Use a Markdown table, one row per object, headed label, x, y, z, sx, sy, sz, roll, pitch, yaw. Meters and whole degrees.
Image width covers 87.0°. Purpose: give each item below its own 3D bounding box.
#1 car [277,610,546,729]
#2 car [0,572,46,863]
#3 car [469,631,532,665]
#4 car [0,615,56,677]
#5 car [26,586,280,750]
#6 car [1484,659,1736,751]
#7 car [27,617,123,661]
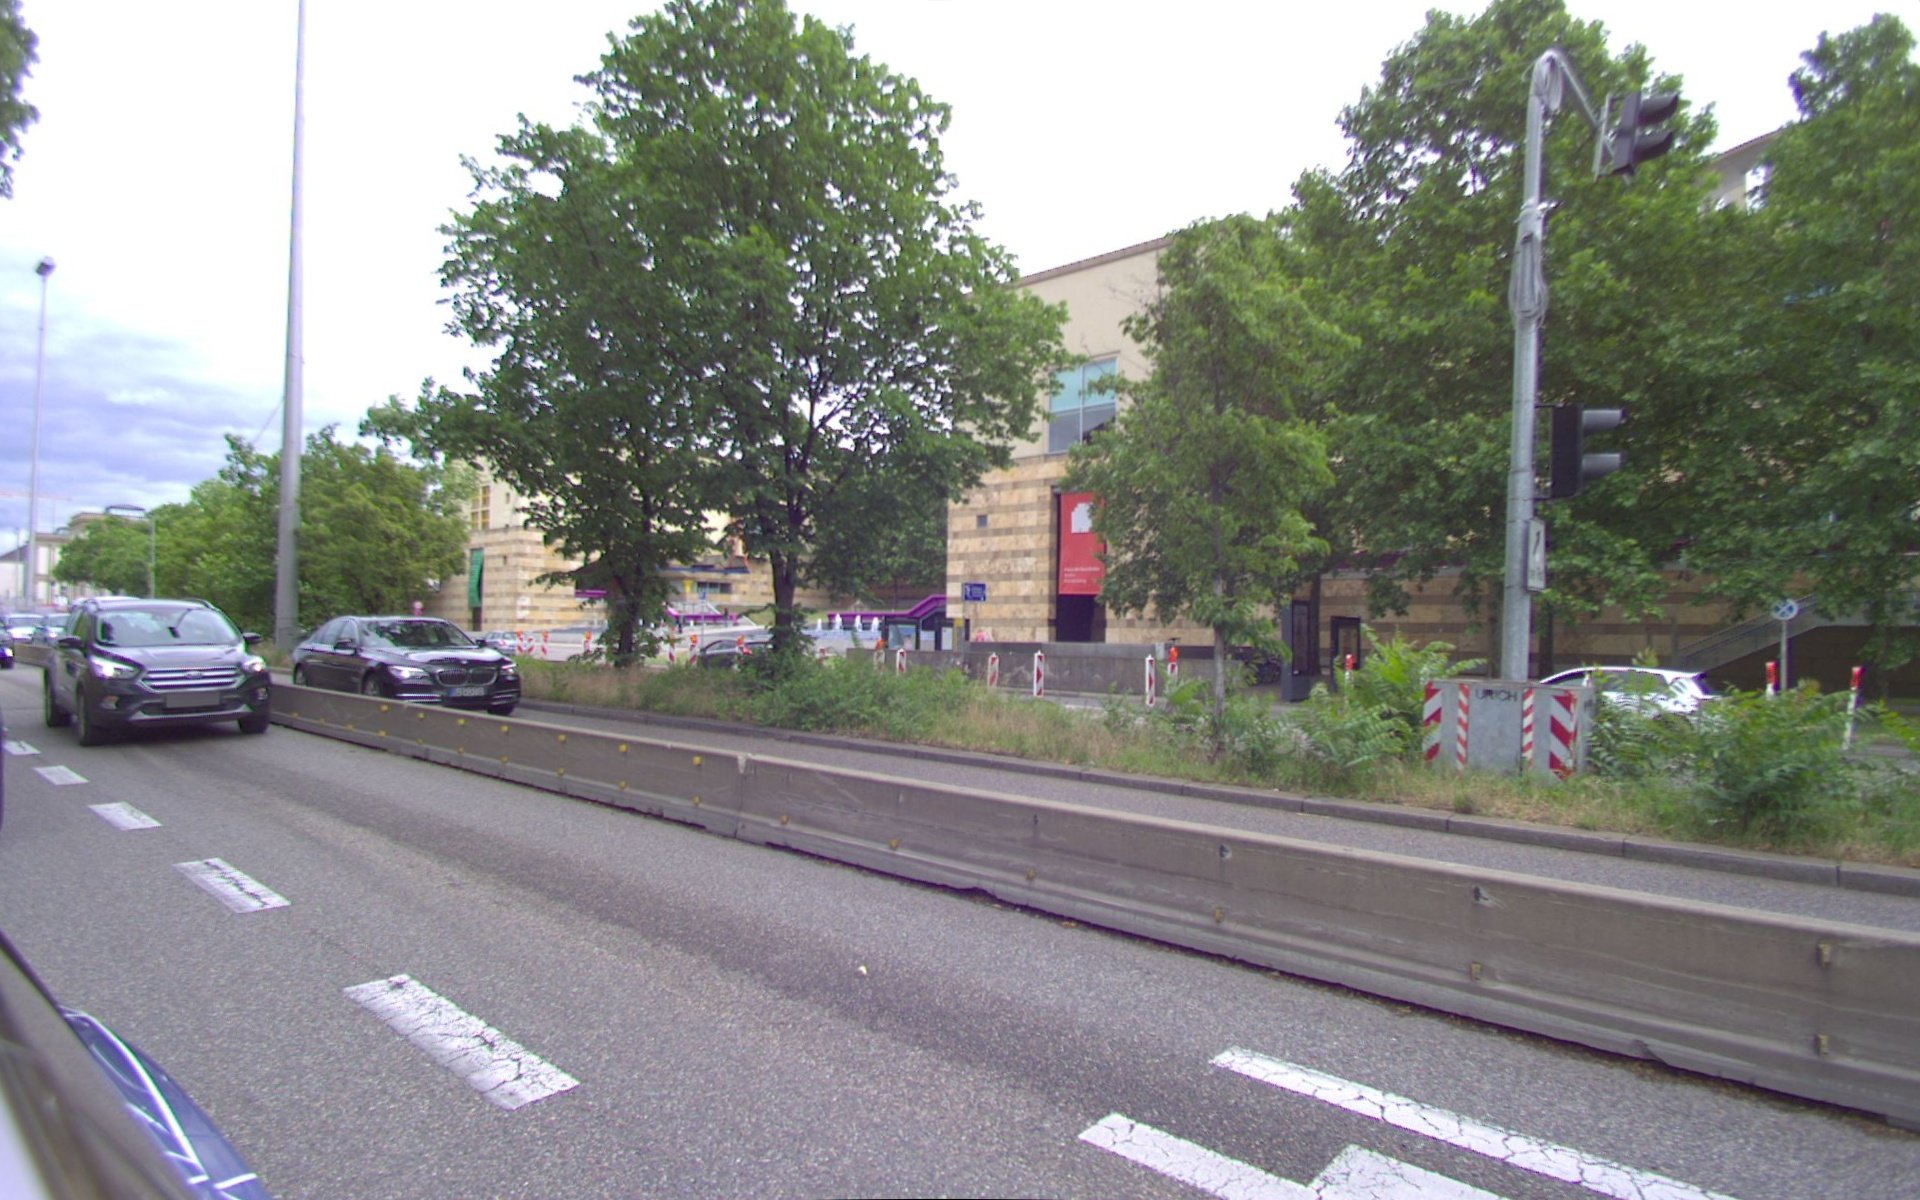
| label | x | y | z | sx | sy | sz | roll | pitch | yaw |
| --- | --- | --- | --- | --- | --- | --- | --- | --- | --- |
| car | -8.267 | 0.931 | 15.041 | 4.807 | 1.494 | 1.972 | -1 | -2 | 41 |
| car | -7.691 | 0.678 | 6.491 | 4.597 | 1.638 | 2.036 | 0 | 1 | 39 |
| car | -22.962 | 2.377 | 50.551 | 3.578 | 1.621 | 1.561 | -1 | -3 | 42 |
| car | -25.476 | 1.177 | 26.869 | 4.151 | 1.527 | 1.744 | 0 | -1 | 42 |
| car | -10.444 | 0.769 | 12.963 | 4.658 | 1.728 | 1.873 | -2 | -2 | 43 |
| car | 11.767 | 1.840 | 18.464 | 3.736 | 1.298 | 1.338 | 0 | 0 | 41 |
| car | -31.968 | 1.378 | 36.523 | 4.807 | 1.494 | 1.972 | -1 | -2 | 41 |
